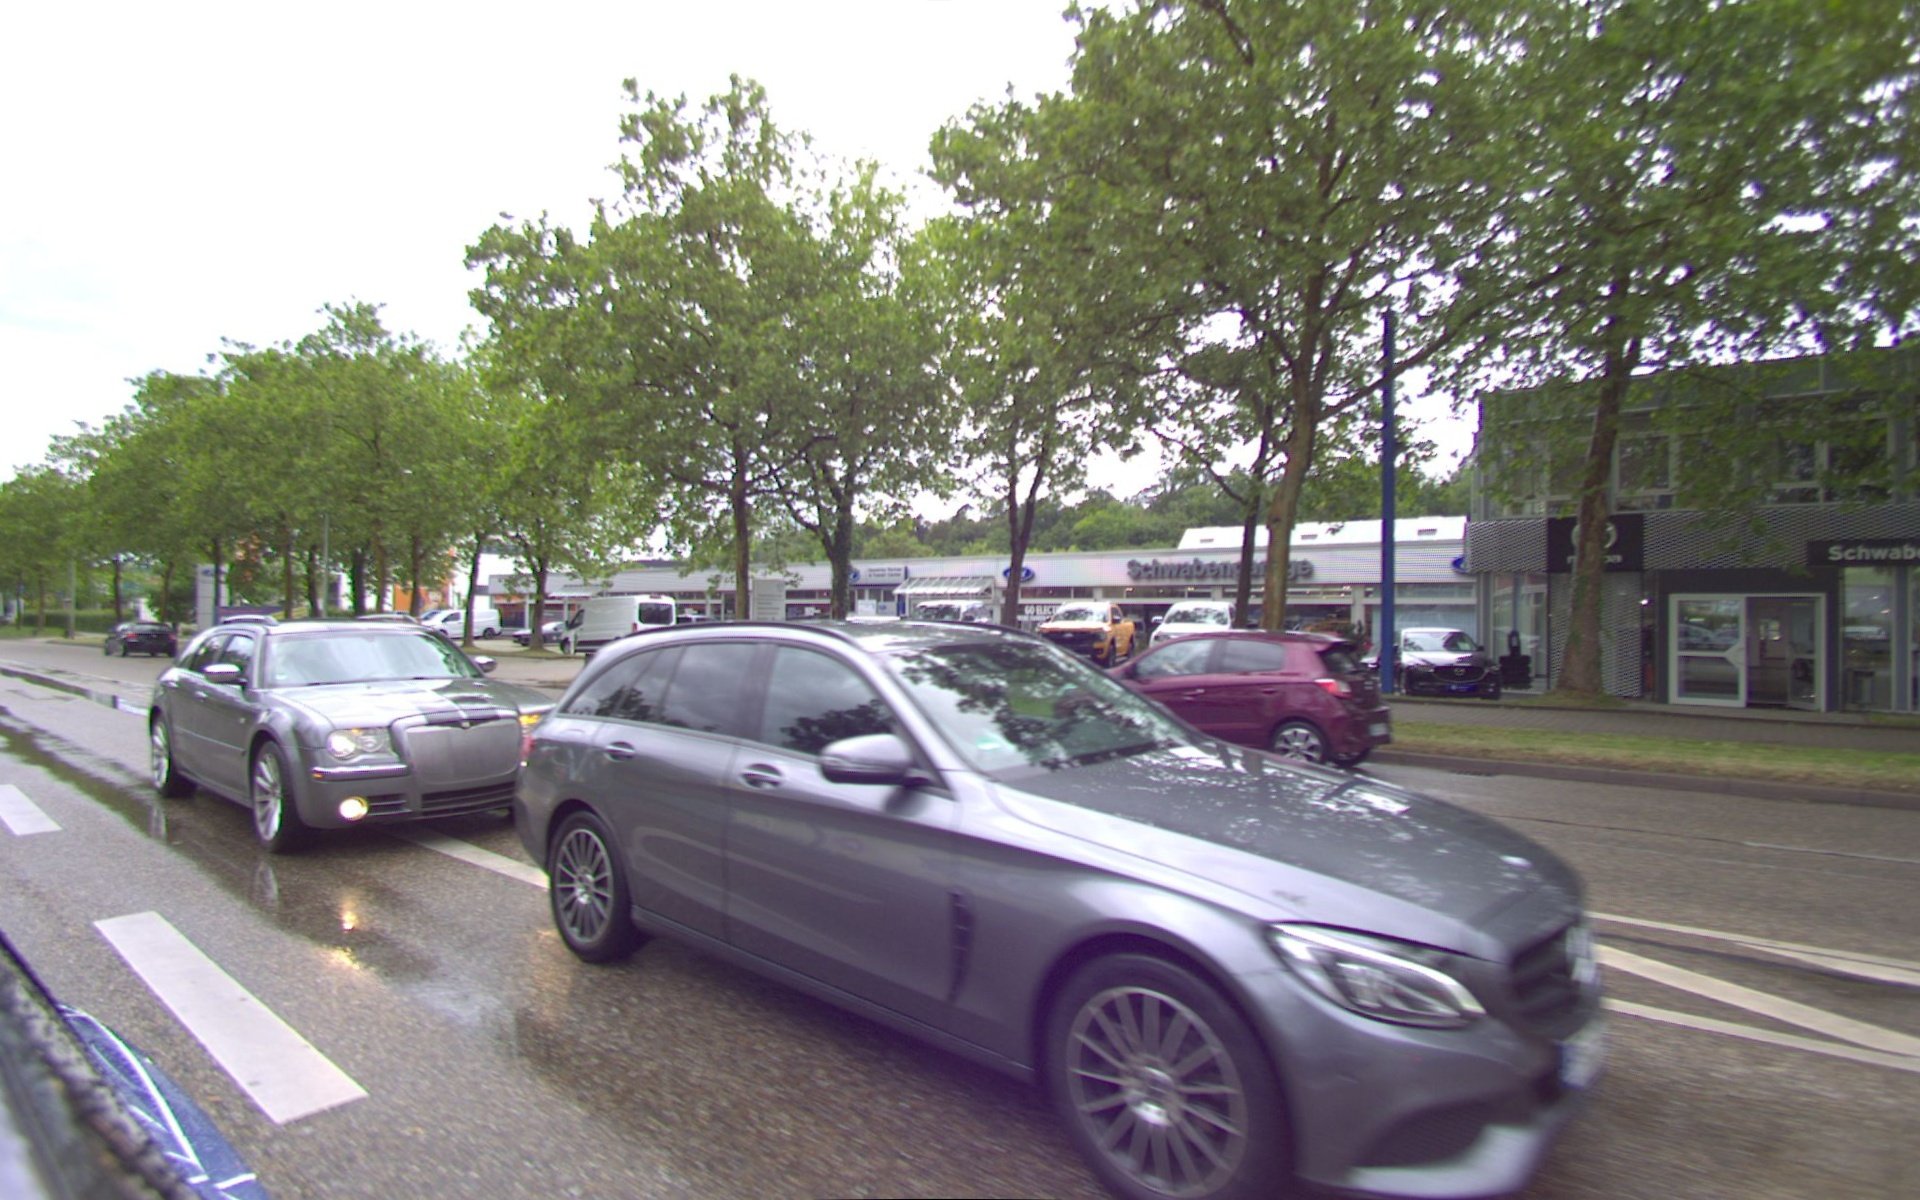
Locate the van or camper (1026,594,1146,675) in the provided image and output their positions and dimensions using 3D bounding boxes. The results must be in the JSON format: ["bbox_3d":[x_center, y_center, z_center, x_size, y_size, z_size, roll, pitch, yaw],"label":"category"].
[{"bbox_3d":[3.434,0.862,26.462,2.088,1.783,5.343,3,0,18],"label":"van or camper"}]

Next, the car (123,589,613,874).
[{"bbox_3d":[-4.886,0.785,7.997,4.878,1.590,1.887,-1,-2,41],"label":"car"}]

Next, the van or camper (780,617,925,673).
[{"bbox_3d":[-3.664,1.499,34.474,4.566,1.798,1.845,1,-1,-24],"label":"van or camper"}]

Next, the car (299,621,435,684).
[{"bbox_3d":[-15.269,1.292,26.000,4.081,1.476,1.693,-1,-2,40],"label":"car"}]

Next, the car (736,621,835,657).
[{"bbox_3d":[-7.732,1.721,45.023,3.933,1.532,1.870,1,-1,-35],"label":"car"}]

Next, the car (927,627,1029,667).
[{"bbox_3d":[0.746,1.835,39.875,3.843,1.478,1.603,1,-1,-37],"label":"car"}]

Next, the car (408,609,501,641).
[{"bbox_3d":[-32.962,1.610,66.087,2.127,2.029,4.995,-1,-2,39],"label":"car"}]

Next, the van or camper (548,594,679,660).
[{"bbox_3d":[-14.066,1.037,40.851,6.395,2.489,1.974,-1,0,40],"label":"van or camper"}]

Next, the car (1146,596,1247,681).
[{"bbox_3d":[5.708,0.878,24.076,1.984,1.829,4.441,0,-1,18],"label":"car"}]

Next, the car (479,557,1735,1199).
[{"bbox_3d":[0.092,0.742,3.988,4.552,1.440,1.972,-2,-4,42],"label":"car"}]

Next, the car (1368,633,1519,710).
[{"bbox_3d":[10.476,1.488,22.283,1.979,1.461,4.451,0,-1,12],"label":"car"}]

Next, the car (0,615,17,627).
[{"bbox_3d":[-126.679,2.817,134.429,3.999,1.545,1.723,0,-3,42],"label":"car"}]

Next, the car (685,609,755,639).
[{"bbox_3d":[-15.600,1.536,66.223,2.367,1.852,5.327,0,0,13],"label":"car"}]

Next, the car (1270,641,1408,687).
[{"bbox_3d":[11.311,1.875,30.196,3.714,1.265,1.661,1,-1,-23],"label":"car"}]

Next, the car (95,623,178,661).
[{"bbox_3d":[-33.195,1.654,40.753,4.533,1.440,1.719,-1,-2,40],"label":"car"}]

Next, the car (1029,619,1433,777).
[{"bbox_3d":[2.945,0.983,11.432,4.080,1.476,1.693,-1,-3,39],"label":"car"}]

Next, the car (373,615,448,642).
[{"bbox_3d":[-37.696,1.937,69.526,2.065,1.827,4.082,-1,-2,42],"label":"car"}]

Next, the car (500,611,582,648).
[{"bbox_3d":[-24.099,1.689,58.249,1.880,2.029,3.948,-1,-2,38],"label":"car"}]

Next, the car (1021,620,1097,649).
[{"bbox_3d":[5.071,1.719,51.344,1.865,1.450,3.944,-1,-2,42],"label":"car"}]

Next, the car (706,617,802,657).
[{"bbox_3d":[-9.526,1.703,46.938,3.933,1.780,1.870,1,-1,-34],"label":"car"}]

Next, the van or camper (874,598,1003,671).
[{"bbox_3d":[-0.457,0.921,28.292,2.246,1.835,5.273,0,-1,15],"label":"van or camper"}]
